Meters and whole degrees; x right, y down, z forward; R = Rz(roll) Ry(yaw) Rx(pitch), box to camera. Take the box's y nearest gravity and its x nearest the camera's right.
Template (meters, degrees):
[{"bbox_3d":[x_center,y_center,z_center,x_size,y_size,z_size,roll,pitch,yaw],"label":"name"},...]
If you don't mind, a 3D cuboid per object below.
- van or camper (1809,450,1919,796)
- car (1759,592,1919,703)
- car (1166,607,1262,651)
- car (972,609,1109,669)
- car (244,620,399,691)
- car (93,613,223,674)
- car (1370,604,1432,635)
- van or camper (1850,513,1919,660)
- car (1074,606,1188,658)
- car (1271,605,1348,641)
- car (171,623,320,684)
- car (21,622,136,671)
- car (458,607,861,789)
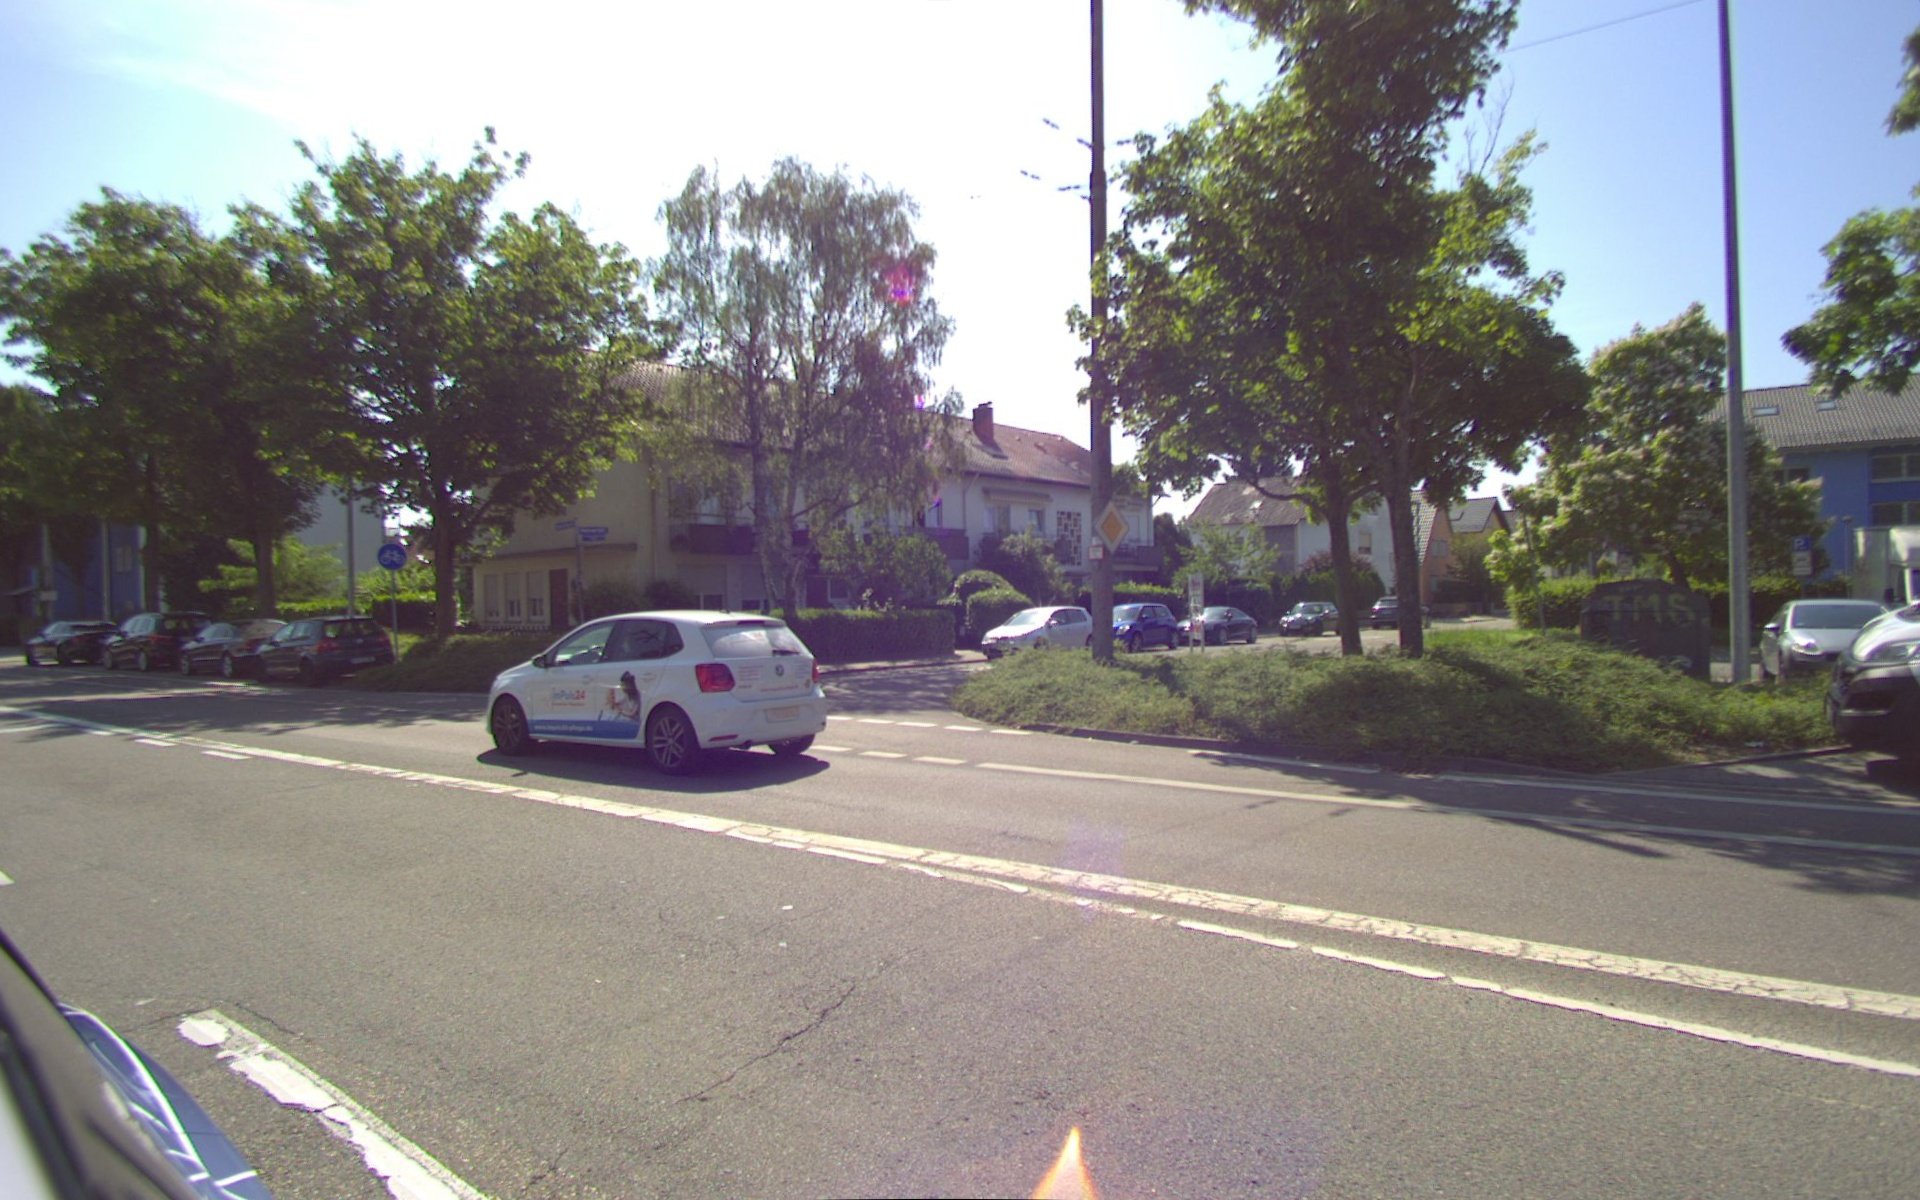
[{"bbox_3d":[9.806,0.116,6.741,6.135,2.534,2.237,-1,-1,36],"label":"van or camper"},{"bbox_3d":[14.048,0.670,16.101,1.658,1.556,3.956,-1,-1,32],"label":"car"},{"bbox_3d":[9.119,1.005,36.146,1.764,1.467,3.946,-1,-1,41],"label":"car"},{"bbox_3d":[2.315,1.054,28.498,1.807,1.536,3.944,-1,-1,43],"label":"car"},{"bbox_3d":[-14.567,1.209,23.028,4.074,1.461,1.601,-1,-1,36],"label":"car"},{"bbox_3d":[-23.097,1.232,29.114,4.229,1.625,1.662,-1,-1,33],"label":"car"},{"bbox_3d":[22.140,0.961,50.780,1.764,1.467,3.946,-1,-1,41],"label":"car"},{"bbox_3d":[24.104,-0.323,24.566,2.574,3.269,6.896,-1,-1,32],"label":"van or camper"},{"bbox_3d":[5.507,0.985,32.277,1.806,1.536,3.946,-1,-1,41],"label":"car"},{"bbox_3d":[14.847,0.946,42.839,1.764,1.467,3.946,-1,-1,41],"label":"car"},{"bbox_3d":[-18.412,1.332,26.013,4.570,1.405,1.682,-1,-1,35],"label":"car"},{"bbox_3d":[-28.666,1.479,32.883,4.444,1.447,1.662,-1,-1,33],"label":"car"},{"bbox_3d":[-3.060,0.852,10.043,3.989,1.476,1.713,-1,-2,34],"label":"car"}]
